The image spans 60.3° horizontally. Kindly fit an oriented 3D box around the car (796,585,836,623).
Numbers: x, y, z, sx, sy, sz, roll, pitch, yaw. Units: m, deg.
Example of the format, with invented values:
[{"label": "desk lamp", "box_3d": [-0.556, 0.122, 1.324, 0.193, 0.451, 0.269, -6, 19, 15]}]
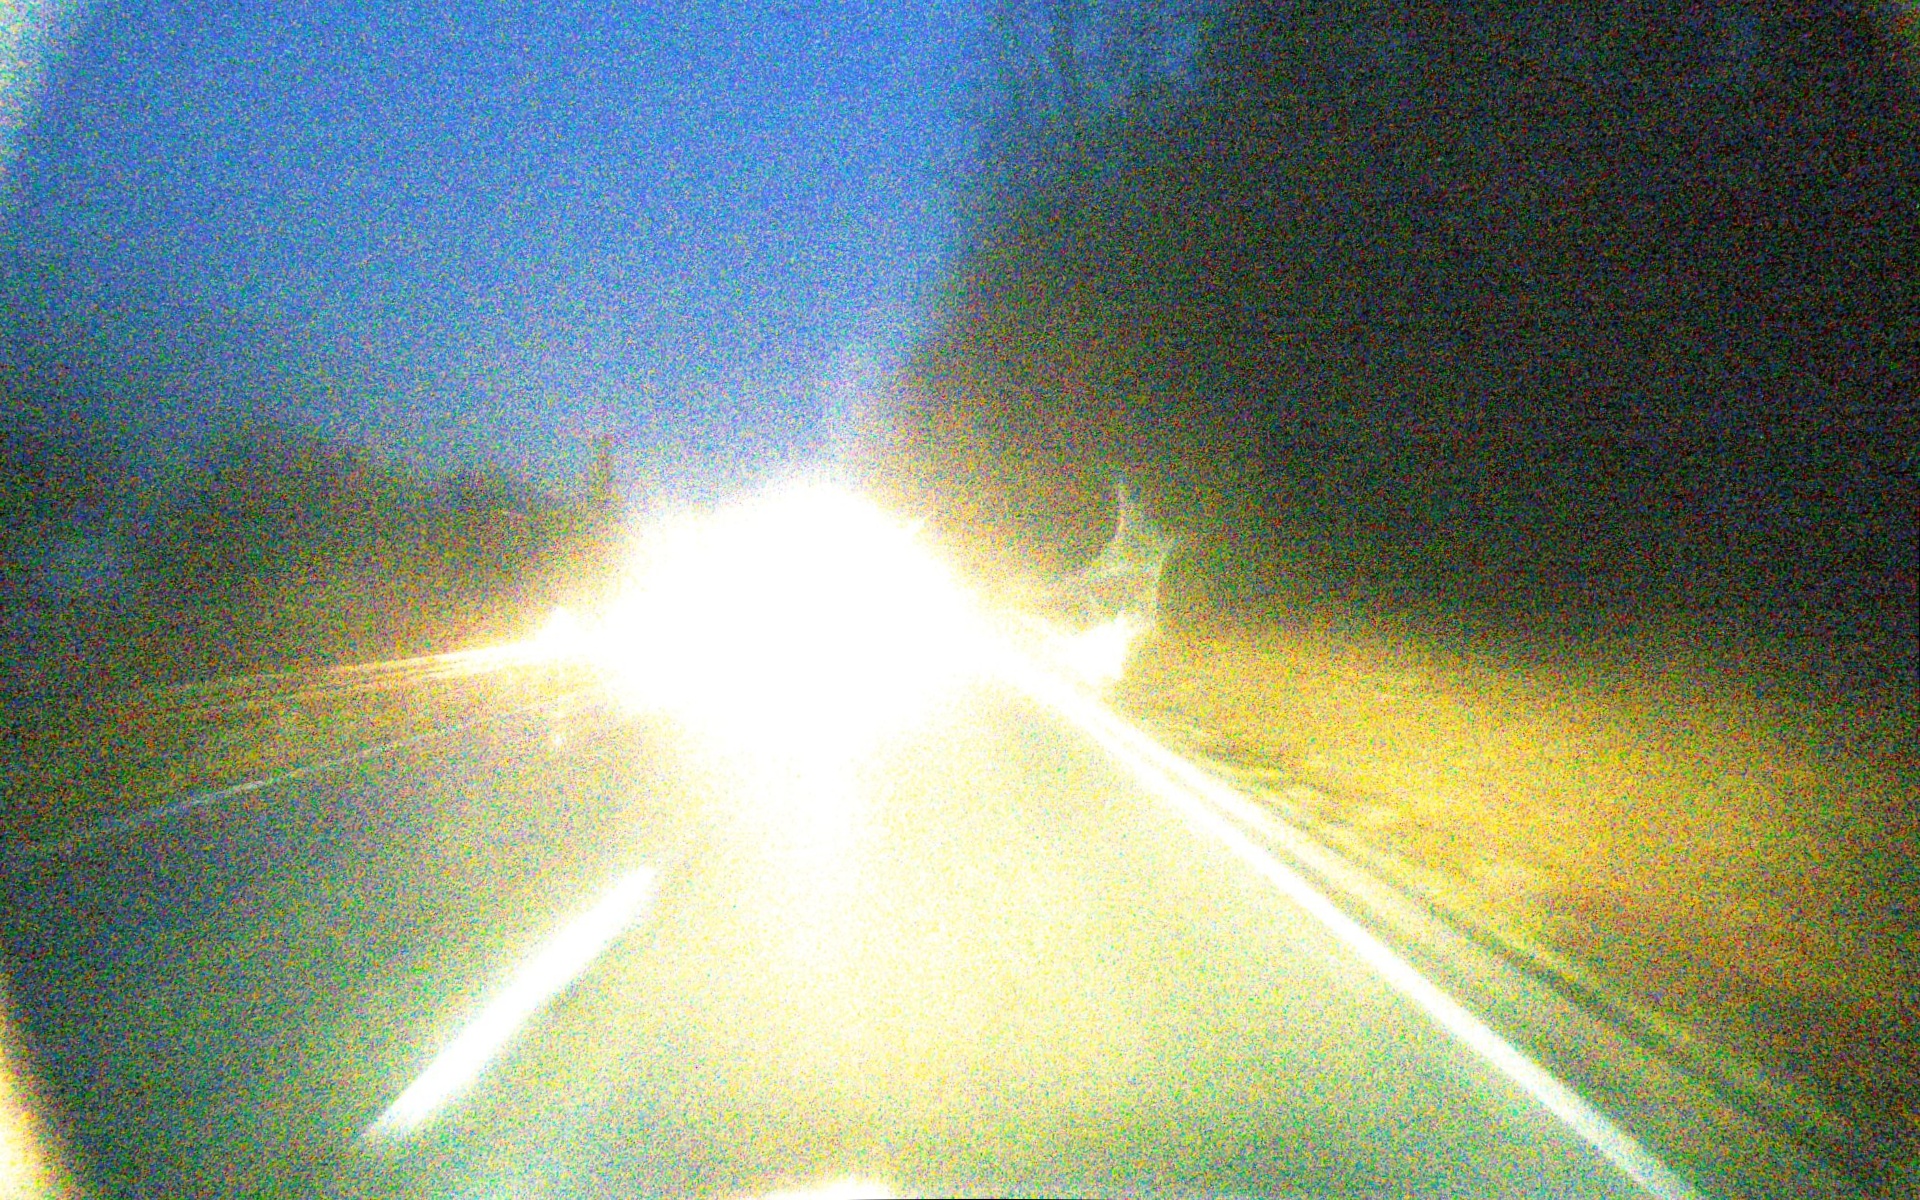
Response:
[{"label": "car", "box_3d": [-6.787, 0.182, 78.302, 1.736, 1.704, 4.051, 2, 0, -4]}]
